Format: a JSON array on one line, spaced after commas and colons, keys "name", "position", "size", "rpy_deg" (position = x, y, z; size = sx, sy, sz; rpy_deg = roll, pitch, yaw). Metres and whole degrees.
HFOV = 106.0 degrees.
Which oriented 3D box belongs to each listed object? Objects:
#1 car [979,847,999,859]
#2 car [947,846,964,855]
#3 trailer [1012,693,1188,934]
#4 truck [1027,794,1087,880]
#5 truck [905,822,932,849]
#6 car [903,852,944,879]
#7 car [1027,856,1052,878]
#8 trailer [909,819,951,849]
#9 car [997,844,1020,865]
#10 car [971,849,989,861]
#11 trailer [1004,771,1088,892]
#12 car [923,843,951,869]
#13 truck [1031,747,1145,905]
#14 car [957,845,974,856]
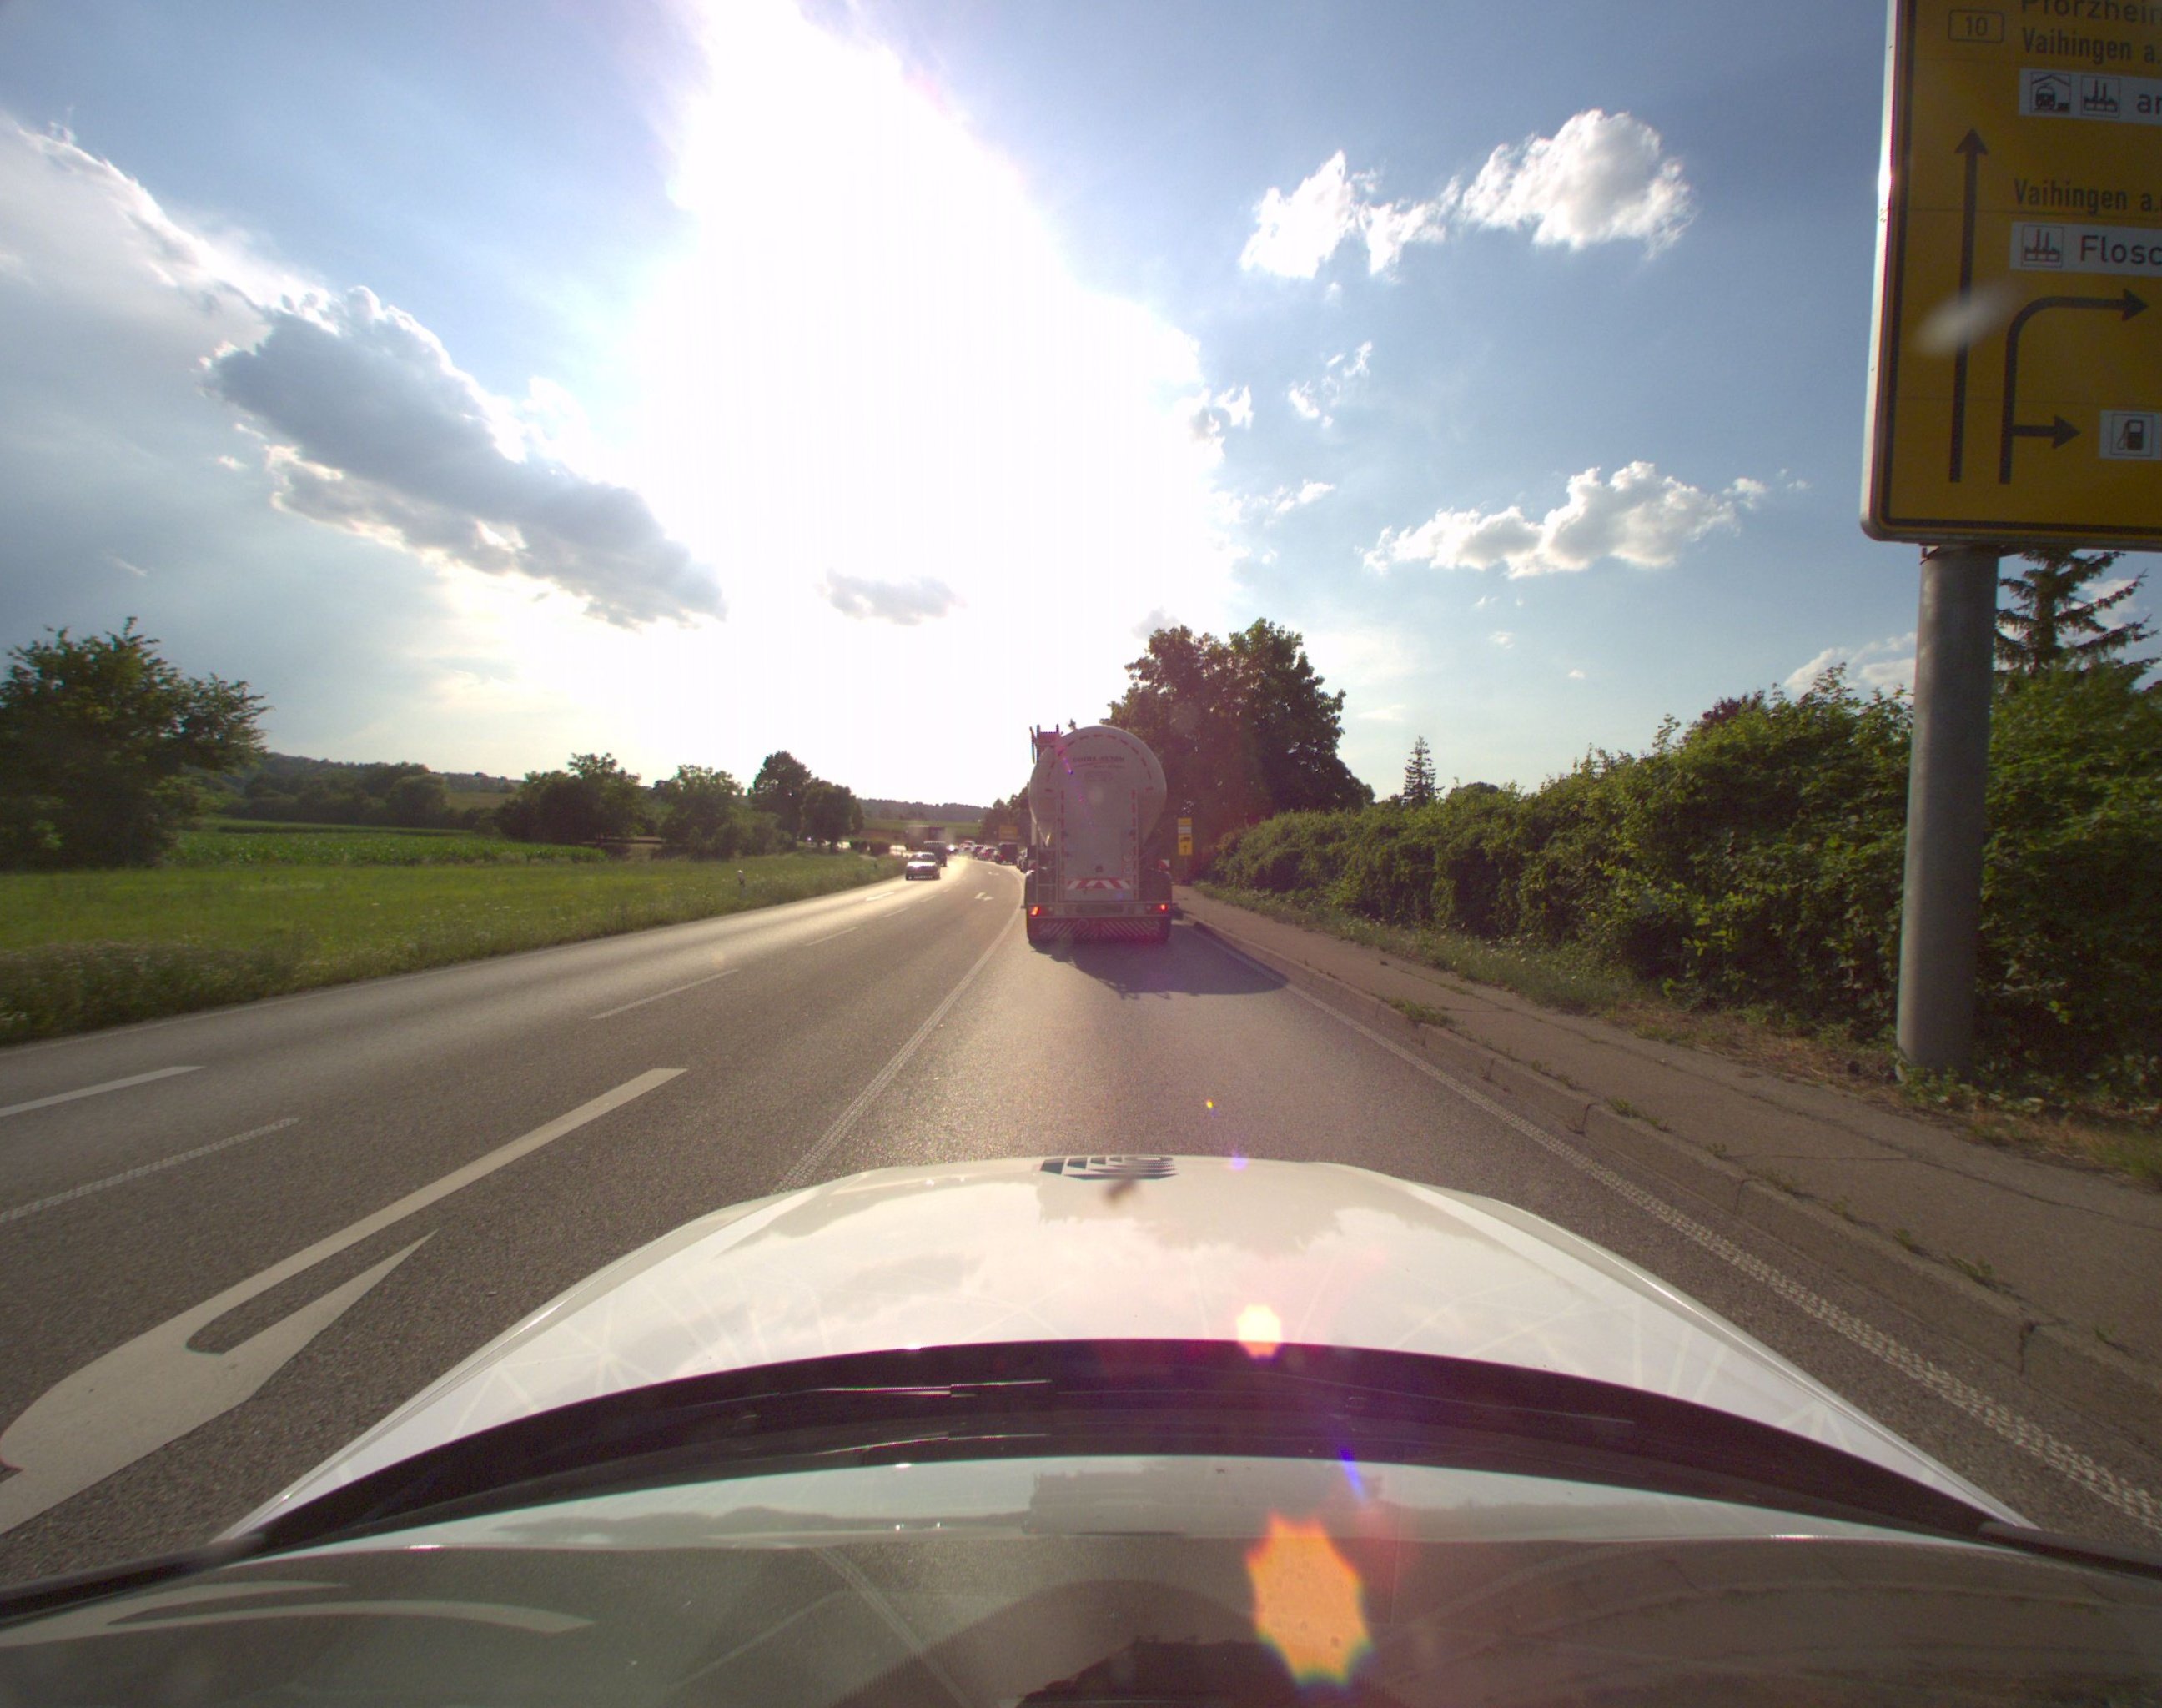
[{"name": "car", "position": [-10.384, -0.146, 91.379], "size": [1.584, 1.341, 3.405], "rpy_deg": [1, 0, -18]}, {"name": "car", "position": [-17.232, -0.507, 111.806], "size": [1.774, 1.206, 3.405], "rpy_deg": [1, 0, -18]}, {"name": "trailer", "position": [0.230, -0.689, 18.498], "size": [2.901, 4.006, 9.925], "rpy_deg": [0, 0, -1]}, {"name": "truck", "position": [-1.208, -0.878, 43.499], "size": [2.942, 4.303, 4.930], "rpy_deg": [1, 0, 0]}, {"name": "truck", "position": [-27.343, -3.126, 136.851], "size": [3.390, 4.350, 5.662], "rpy_deg": [1, 0, -23]}, {"name": "car", "position": [-8.695, 0.618, 45.230], "size": [1.703, 1.428, 4.172], "rpy_deg": [0, 0, -4]}, {"name": "car", "position": [-2.769, 0.849, 54.407], "size": [1.577, 1.340, 3.421], "rpy_deg": [1, 0, -4]}, {"name": "trailer", "position": [-24.136, -3.076, 129.296], "size": [3.390, 4.350, 14.184], "rpy_deg": [1, 0, -23]}, {"name": "car", "position": [-6.906, 0.032, 77.039], "size": [1.862, 2.013, 3.705], "rpy_deg": [0, 0, -11]}, {"name": "car", "position": [-12.097, 0.118, 97.655], "size": [1.584, 1.341, 3.405], "rpy_deg": [1, 0, -18]}, {"name": "trailer", "position": [-1.229, -0.834, 36.426], "size": [2.945, 4.315, 14.173], "rpy_deg": [1, 0, 0]}, {"name": "car", "position": [-12.335, 0.155, 70.000], "size": [1.996, 2.136, 4.769], "rpy_deg": [0, 0, -6]}, {"name": "truck", "position": [0.150, -0.722, 22.776], "size": [2.901, 4.006, 4.058], "rpy_deg": [0, 0, -1]}, {"name": "car", "position": [-14.976, -0.498, 105.647], "size": [1.584, 1.341, 3.405], "rpy_deg": [1, 0, -18]}]
